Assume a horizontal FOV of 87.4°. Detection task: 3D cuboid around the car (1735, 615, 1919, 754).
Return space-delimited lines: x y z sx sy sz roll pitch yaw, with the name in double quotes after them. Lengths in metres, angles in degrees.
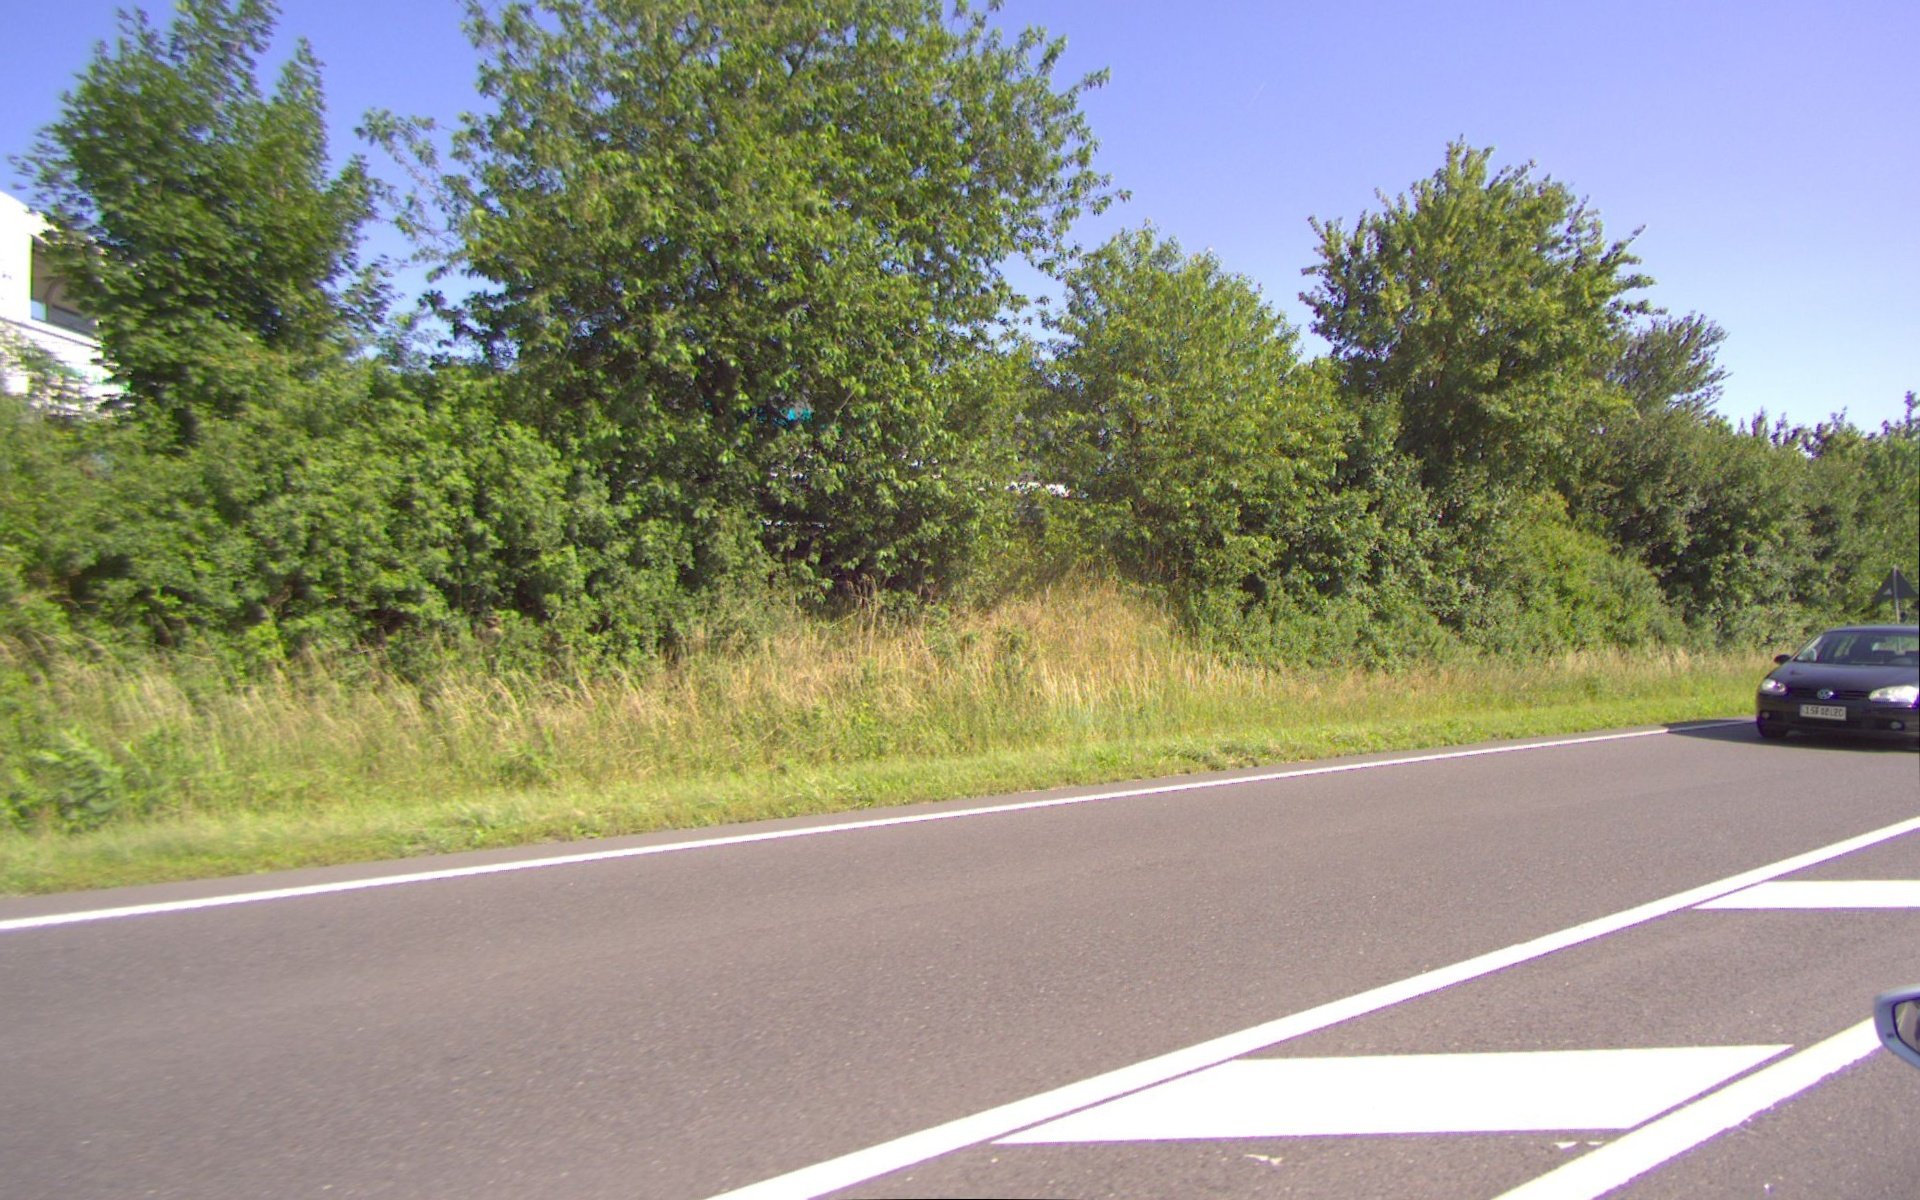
11.759 0.978 12.848 3.957 1.501 1.739 1 0 -33 "car"
